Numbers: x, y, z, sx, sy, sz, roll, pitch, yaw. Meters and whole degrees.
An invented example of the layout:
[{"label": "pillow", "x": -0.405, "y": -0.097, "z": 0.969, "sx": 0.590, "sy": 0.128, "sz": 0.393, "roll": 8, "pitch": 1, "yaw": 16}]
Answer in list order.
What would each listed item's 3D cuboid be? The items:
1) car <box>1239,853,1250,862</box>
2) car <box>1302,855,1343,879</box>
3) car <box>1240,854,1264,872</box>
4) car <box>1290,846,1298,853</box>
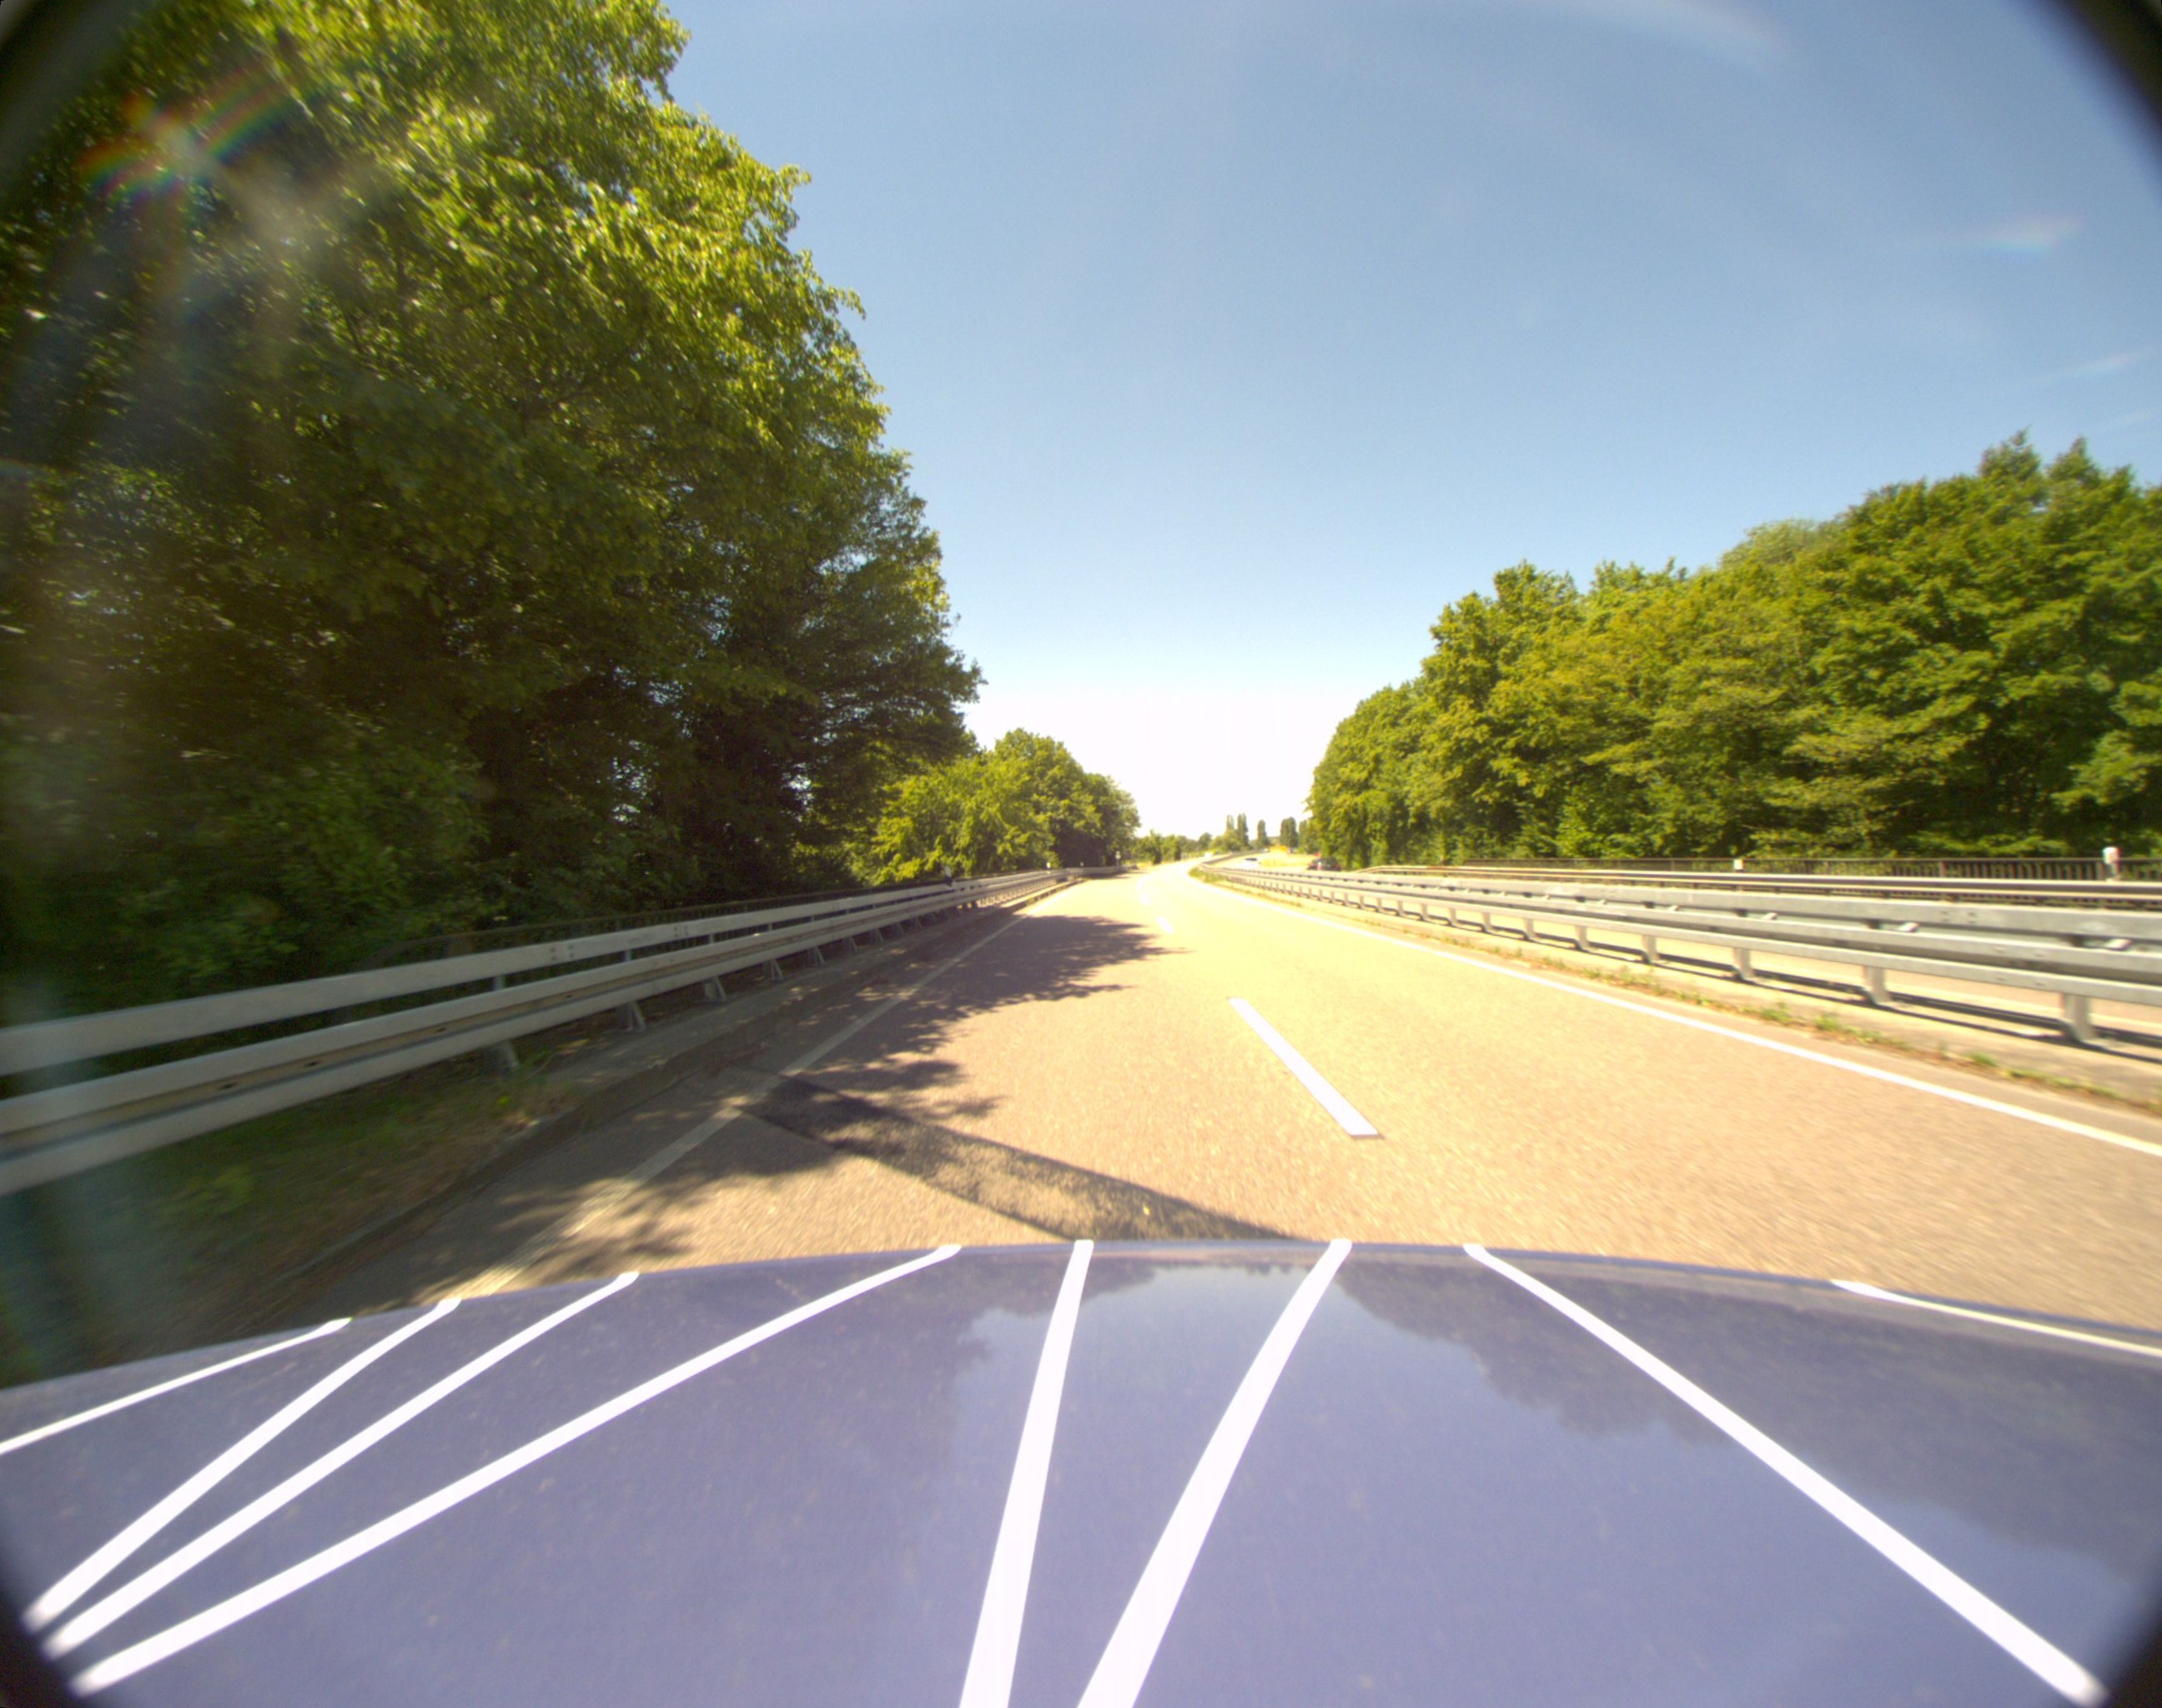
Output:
[{"label": "car", "x": 27.500, "y": 0.638, "z": 127.972, "sx": 1.654, "sy": 1.438, "sz": 4.223, "roll": -1, "pitch": 0, "yaw": 9}, {"label": "car", "x": 16.690, "y": 0.876, "z": 52.674, "sx": 1.655, "sy": 1.519, "sz": 3.999, "roll": -1, "pitch": 0, "yaw": 2}, {"label": "car", "x": 16.534, "y": 0.861, "z": 73.602, "sx": 1.654, "sy": 1.597, "sz": 4.221, "roll": -1, "pitch": 0, "yaw": 4}, {"label": "car", "x": 69.160, "y": -1.545, "z": 246.364, "sx": 1.996, "sy": 2.002, "sz": 4.005, "roll": -4, "pitch": 0, "yaw": 23}]
